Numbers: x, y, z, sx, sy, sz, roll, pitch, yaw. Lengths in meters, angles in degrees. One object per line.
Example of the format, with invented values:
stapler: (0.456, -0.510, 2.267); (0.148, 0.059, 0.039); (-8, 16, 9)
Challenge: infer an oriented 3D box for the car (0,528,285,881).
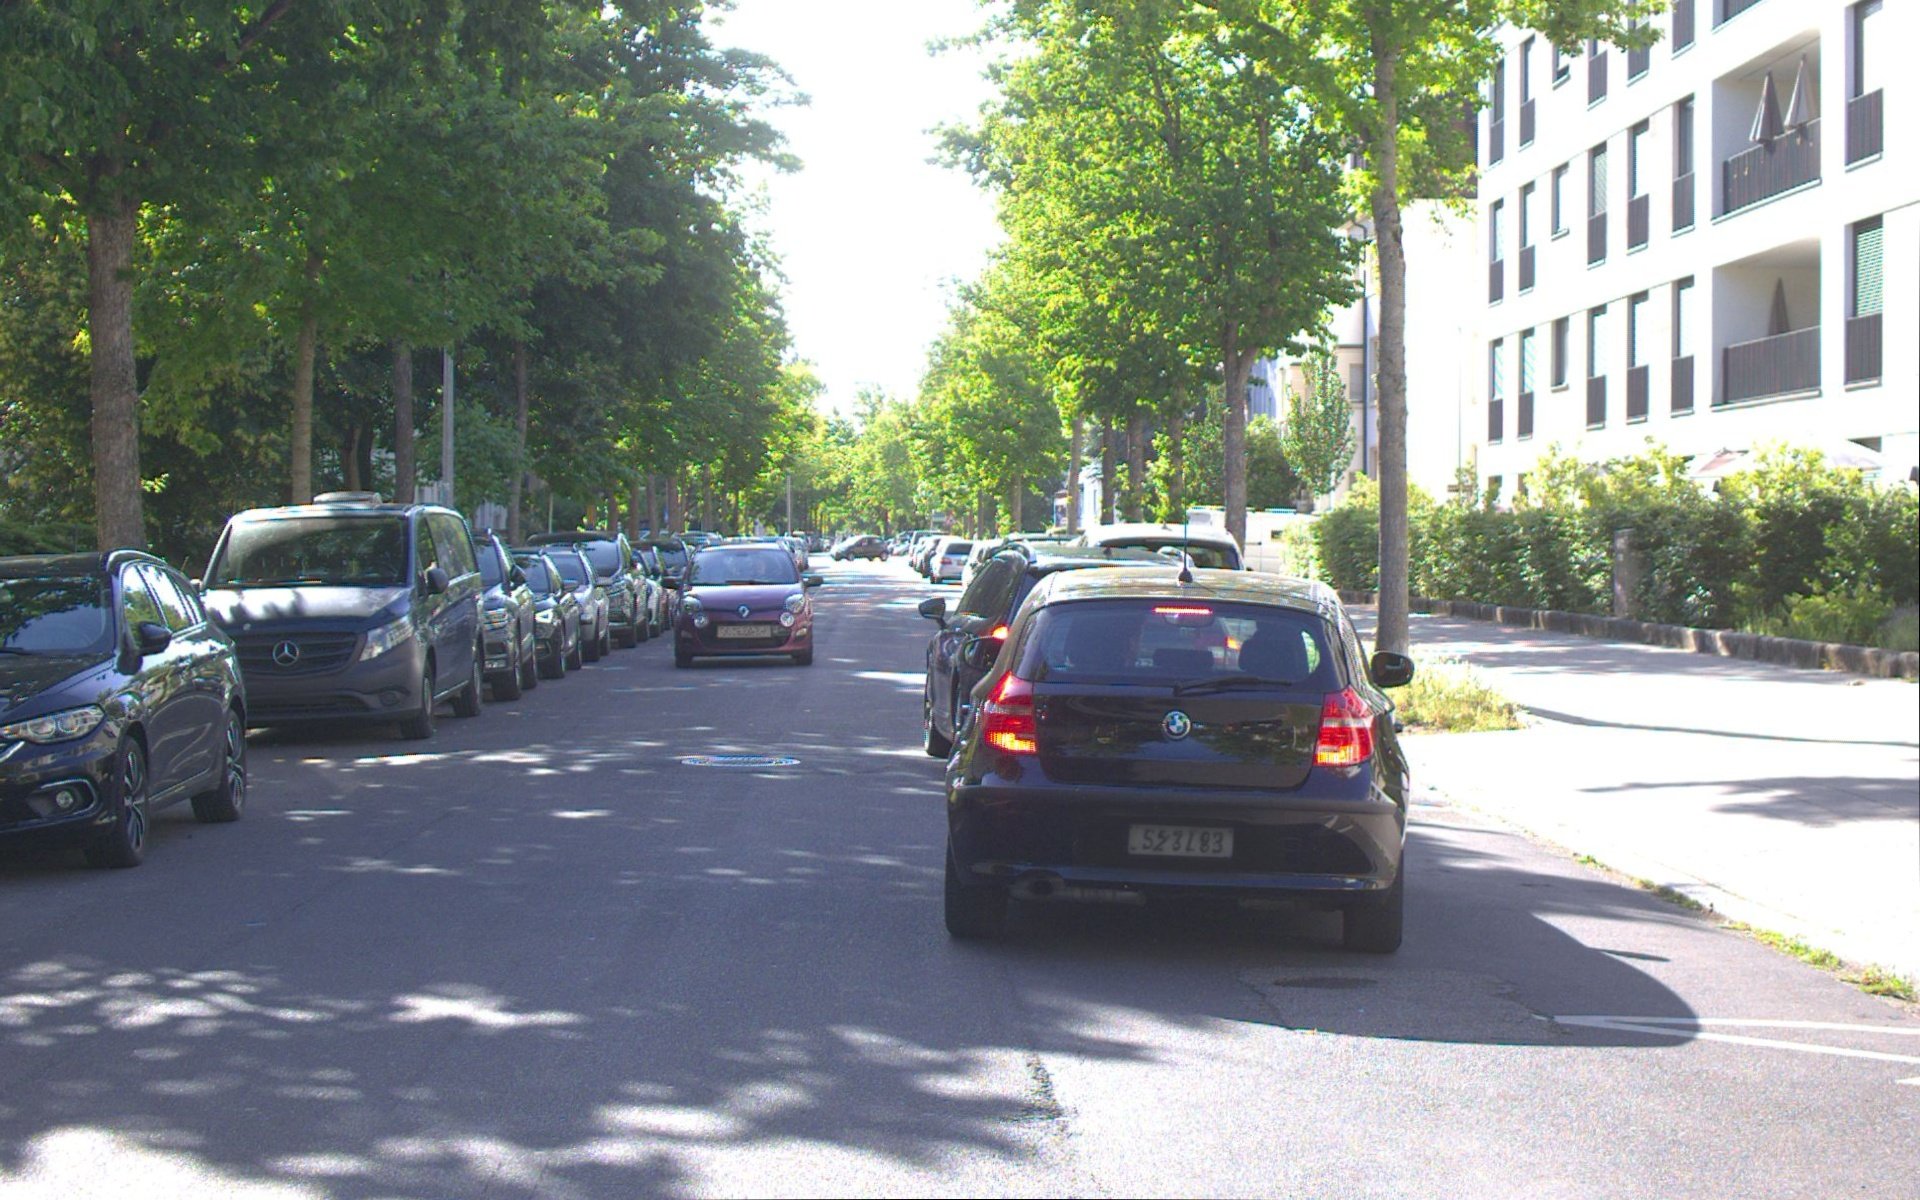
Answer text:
car: (-4.631, 0.440, 17.558); (1.507, 1.543, 4.779); (-2, 1, -2)

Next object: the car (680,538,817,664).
car: (-2.496, -0.012, 41.179); (1.505, 1.421, 3.178); (-1, 1, -1)

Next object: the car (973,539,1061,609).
car: (1.180, -0.571, 72.510); (1.721, 1.374, 3.851); (2, 1, 0)

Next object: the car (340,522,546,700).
car: (-5.000, 0.058, 33.690); (1.612, 1.606, 4.230); (-1, 1, -4)

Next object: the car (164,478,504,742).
car: (-4.944, 0.025, 27.855); (1.826, 1.898, 5.142); (-1, 1, -1)

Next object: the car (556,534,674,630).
car: (-5.516, -0.318, 55.231); (1.612, 1.447, 3.866); (-1, 1, -2)

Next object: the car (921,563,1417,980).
car: (0.712, 0.577, 13.674); (1.649, 1.392, 3.412); (-1, 1, -2)

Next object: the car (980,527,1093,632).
car: (1.238, -0.374, 57.390); (1.721, 1.635, 3.851); (2, 1, 0)

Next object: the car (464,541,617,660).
car: (-5.337, -0.032, 44.090); (1.612, 1.422, 3.726); (-1, 1, -2)

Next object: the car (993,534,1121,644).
car: (1.408, -0.198, 51.386); (1.721, 1.523, 4.000); (2, 1, 0)

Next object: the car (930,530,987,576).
car: (-0.034, -1.548, 112.572); (1.721, 1.475, 3.851); (-1, 1, 2)

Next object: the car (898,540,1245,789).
car: (0.625, 0.342, 22.170); (1.649, 1.420, 4.002); (-1, 1, -7)

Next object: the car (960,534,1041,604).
car: (0.888, -0.714, 77.292); (1.721, 1.475, 3.851); (2, 1, 0)

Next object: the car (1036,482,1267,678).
car: (1.664, -0.195, 31.255); (1.848, 1.625, 4.410); (1, 1, 0)

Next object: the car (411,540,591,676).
car: (-5.156, 0.049, 38.998); (1.612, 1.422, 4.058); (-1, 1, -2)

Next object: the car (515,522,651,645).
car: (-5.387, -0.269, 49.528); (1.612, 1.673, 4.235); (-1, 1, -2)
